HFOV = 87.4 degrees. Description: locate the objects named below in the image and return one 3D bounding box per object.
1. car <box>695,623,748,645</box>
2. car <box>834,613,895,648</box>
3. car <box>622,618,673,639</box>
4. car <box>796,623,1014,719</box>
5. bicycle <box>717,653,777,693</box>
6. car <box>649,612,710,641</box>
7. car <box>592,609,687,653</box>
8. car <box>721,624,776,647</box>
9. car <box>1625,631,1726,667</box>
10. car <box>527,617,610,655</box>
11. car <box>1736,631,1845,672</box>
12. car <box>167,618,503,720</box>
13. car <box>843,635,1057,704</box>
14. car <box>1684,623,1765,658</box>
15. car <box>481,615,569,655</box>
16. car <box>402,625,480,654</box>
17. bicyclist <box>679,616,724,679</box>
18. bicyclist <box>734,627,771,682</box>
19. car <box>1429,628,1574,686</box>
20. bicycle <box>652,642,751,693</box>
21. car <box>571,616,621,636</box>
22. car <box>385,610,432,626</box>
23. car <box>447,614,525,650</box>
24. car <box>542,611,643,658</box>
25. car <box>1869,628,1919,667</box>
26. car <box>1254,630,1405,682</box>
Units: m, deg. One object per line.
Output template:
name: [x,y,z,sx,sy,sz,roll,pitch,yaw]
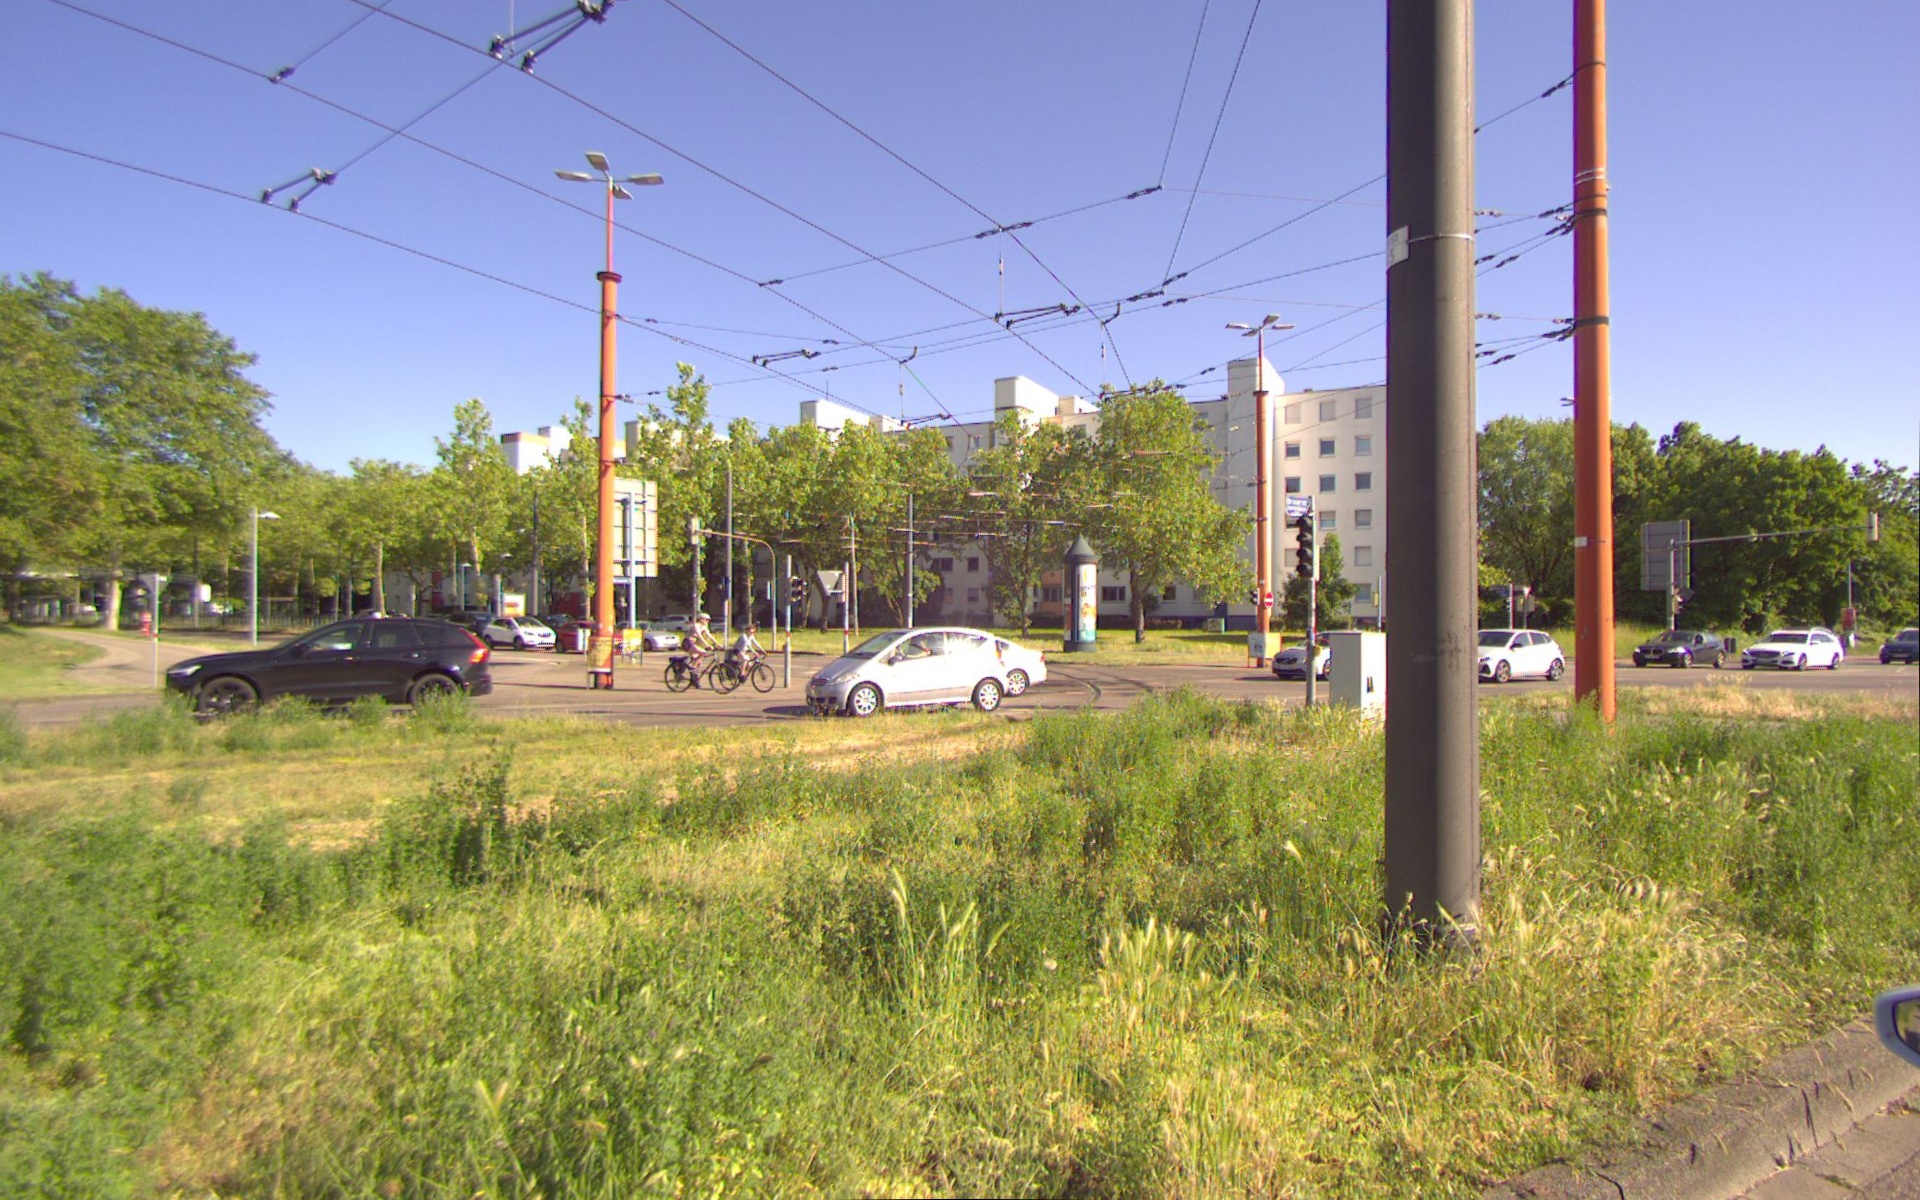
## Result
car: [-18.729,2.693,78.789,3.935,1.617,1.889,1,0,-17]
car: [-6.672,2.128,69.924,3.935,2.341,1.889,1,0,-17]
car: [-26.046,2.360,83.789,3.935,1.617,1.889,1,0,-17]
car: [-1.019,1.282,18.903,3.713,1.629,1.755,2,-2,-30]
bicycle: [-5.328,1.820,25.102,1.597,0.894,0.368,1,0,30]
car: [-20.770,1.938,74.331,4.332,2.040,1.995,0,-1,33]
car: [-15.385,1.445,48.192,4.198,1.926,1.996,1,0,30]
car: [-16.190,2.732,76.876,3.935,1.617,1.889,1,0,-17]
car: [28.279,1.920,39.675,3.985,1.359,1.852,2,-2,-31]
car: [-20.064,1.807,51.439,3.928,1.773,1.909,1,0,30]
car: [31.141,1.918,37.650,4.589,1.441,1.695,2,-2,-31]
car: [-10.381,1.108,17.096,4.575,1.500,1.985,2,-1,-29]
car: [-0.201,1.562,23.371,4.640,1.451,1.984,2,-2,-31]
car: [37.236,1.941,48.904,3.955,1.597,1.866,2,-1,-32]
car: [-21.074,1.651,48.603,3.928,1.773,1.909,1,0,30]
car: [-26.917,2.043,52.061,3.928,1.339,1.733,1,0,30]
bicyclist: [-6.135,1.112,23.840,0.742,1.449,0.752,1,0,14]
bicyclist: [-5.166,1.353,25.040,0.687,1.340,0.548,1,0,29]
car: [15.132,1.548,28.023,4.132,1.492,1.582,0,-2,-29]
bicycle: [-6.129,1.584,23.821,2.313,1.095,0.474,1,-2,15]
car: [-31.859,2.269,87.998,3.935,1.617,1.889,1,0,-17]
car: [-57.266,1.850,104.397,3.935,1.617,1.889,1,0,-17]
car: [-25.734,1.708,54.488,3.928,1.773,1.909,1,0,30]
car: [-16.498,1.506,45.068,4.198,1.926,1.996,1,0,30]
car: [41.087,2.018,42.946,4.409,1.615,1.985,1,-2,-29]
car: [11.148,1.654,30.237,4.350,1.392,1.983,2,-1,-31]
